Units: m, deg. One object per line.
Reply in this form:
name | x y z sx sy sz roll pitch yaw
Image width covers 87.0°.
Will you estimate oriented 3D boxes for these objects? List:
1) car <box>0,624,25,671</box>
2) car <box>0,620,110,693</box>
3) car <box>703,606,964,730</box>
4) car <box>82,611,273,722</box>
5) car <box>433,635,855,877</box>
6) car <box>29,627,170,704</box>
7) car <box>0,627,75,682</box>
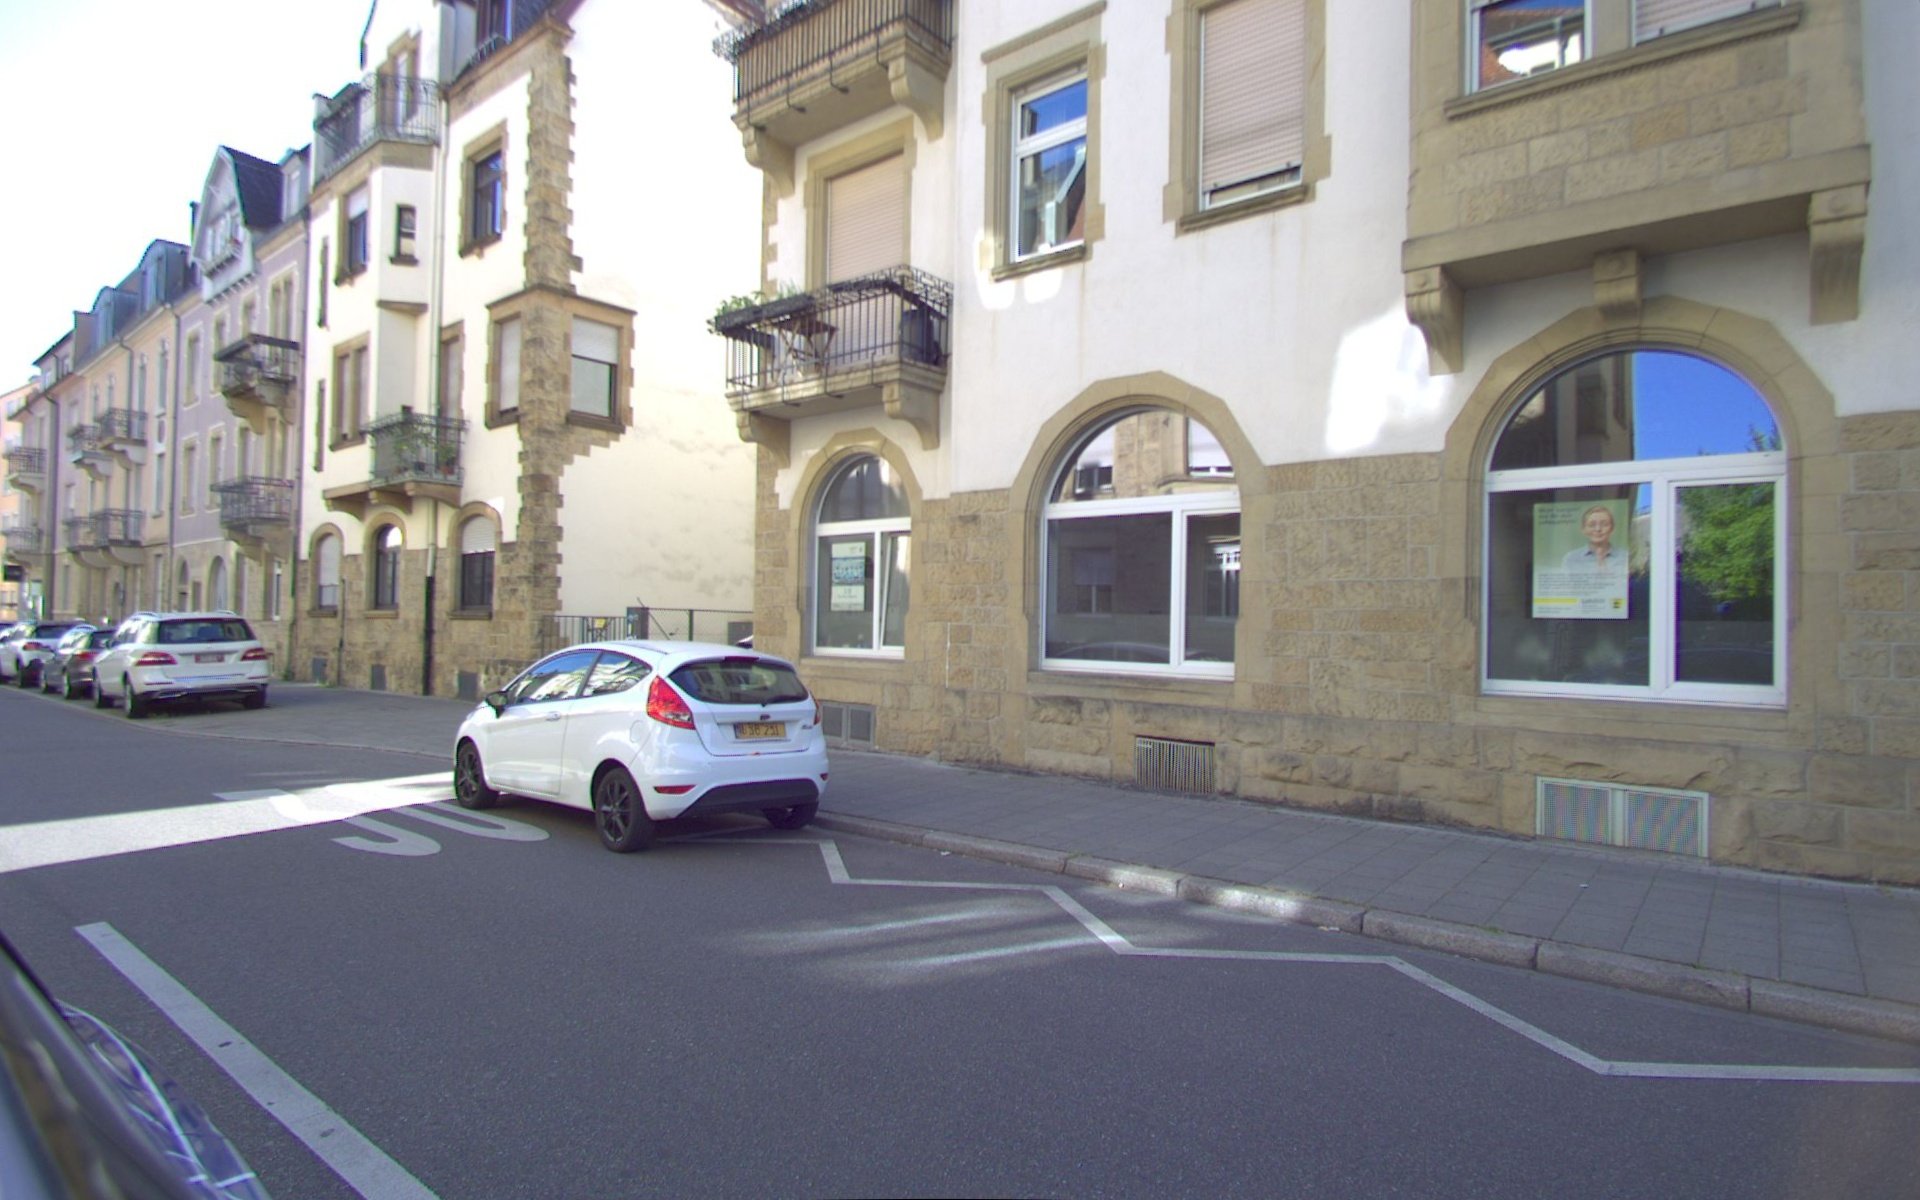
car | -33.054 1.596 34.113 3.719 1.550 1.698 -1 -2 38
car | -22.853 1.354 25.264 4.015 1.595 1.698 -1 1 38
car | -1.929 1.045 16.317 1.908 1.741 3.928 -2 -3 40
car | -14.110 1.103 18.150 4.724 1.735 1.872 -1 -2 42
car | -2.703 1.043 8.222 3.734 1.475 1.616 -1 -2 43
car | -18.633 1.338 21.850 4.275 1.498 1.558 -1 -1 39
car | -26.862 1.528 28.851 3.658 1.404 1.658 -1 1 36
